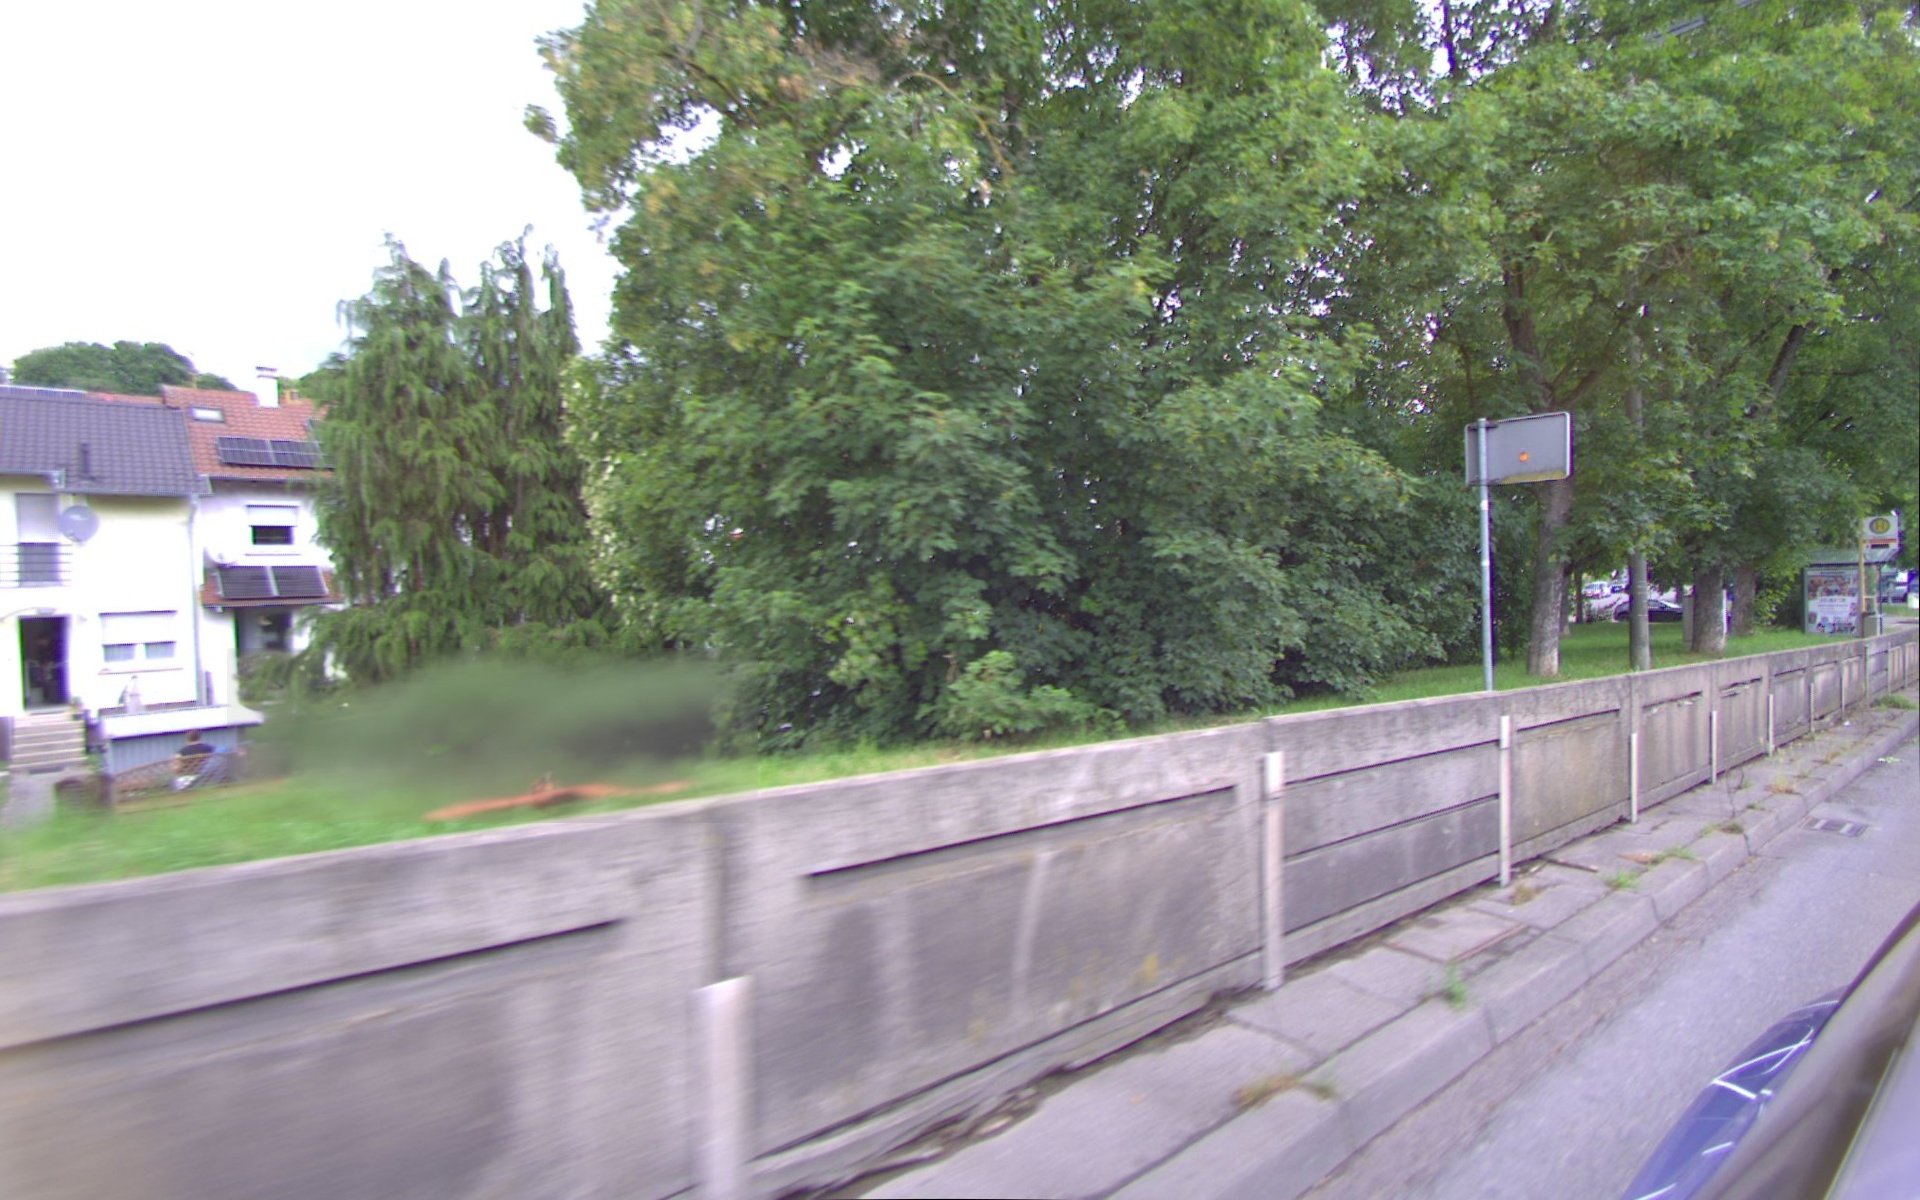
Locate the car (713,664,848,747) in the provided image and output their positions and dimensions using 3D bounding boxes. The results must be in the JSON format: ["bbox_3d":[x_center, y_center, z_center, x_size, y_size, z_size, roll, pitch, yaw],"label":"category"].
[{"bbox_3d":[-4.305,2.416,23.946,1.713,1.638,3.549,-2,-1,-36],"label":"car"}]

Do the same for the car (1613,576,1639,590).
[{"bbox_3d":[76.246,-1.916,115.767,1.990,1.483,3.943,-3,-1,40],"label":"car"}]

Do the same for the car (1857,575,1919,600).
[{"bbox_3d":[67.916,-0.921,73.255,4.182,1.718,1.819,0,1,33],"label":"car"}]

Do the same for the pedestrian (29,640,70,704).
[{"bbox_3d":[-22.629,1.785,25.162,0.526,1.545,0.546,-3,-1,19],"label":"pedestrian"}]

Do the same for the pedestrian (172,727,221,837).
[{"bbox_3d":[-11.556,2.738,15.320,0.306,1.545,0.512,-4,-1,41],"label":"pedestrian"}]

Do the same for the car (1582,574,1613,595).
[{"bbox_3d":[61.856,-1.524,98.180,1.938,1.866,4.193,-3,-1,39],"label":"car"}]

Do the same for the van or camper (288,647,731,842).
[{"bbox_3d":[-6.534,1.932,15.397,2.174,2.039,5.757,-3,-1,40],"label":"van or camper"}]

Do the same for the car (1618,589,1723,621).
[{"bbox_3d":[37.280,0.244,53.209,1.671,1.545,4.168,-2,2,-32],"label":"car"}]
